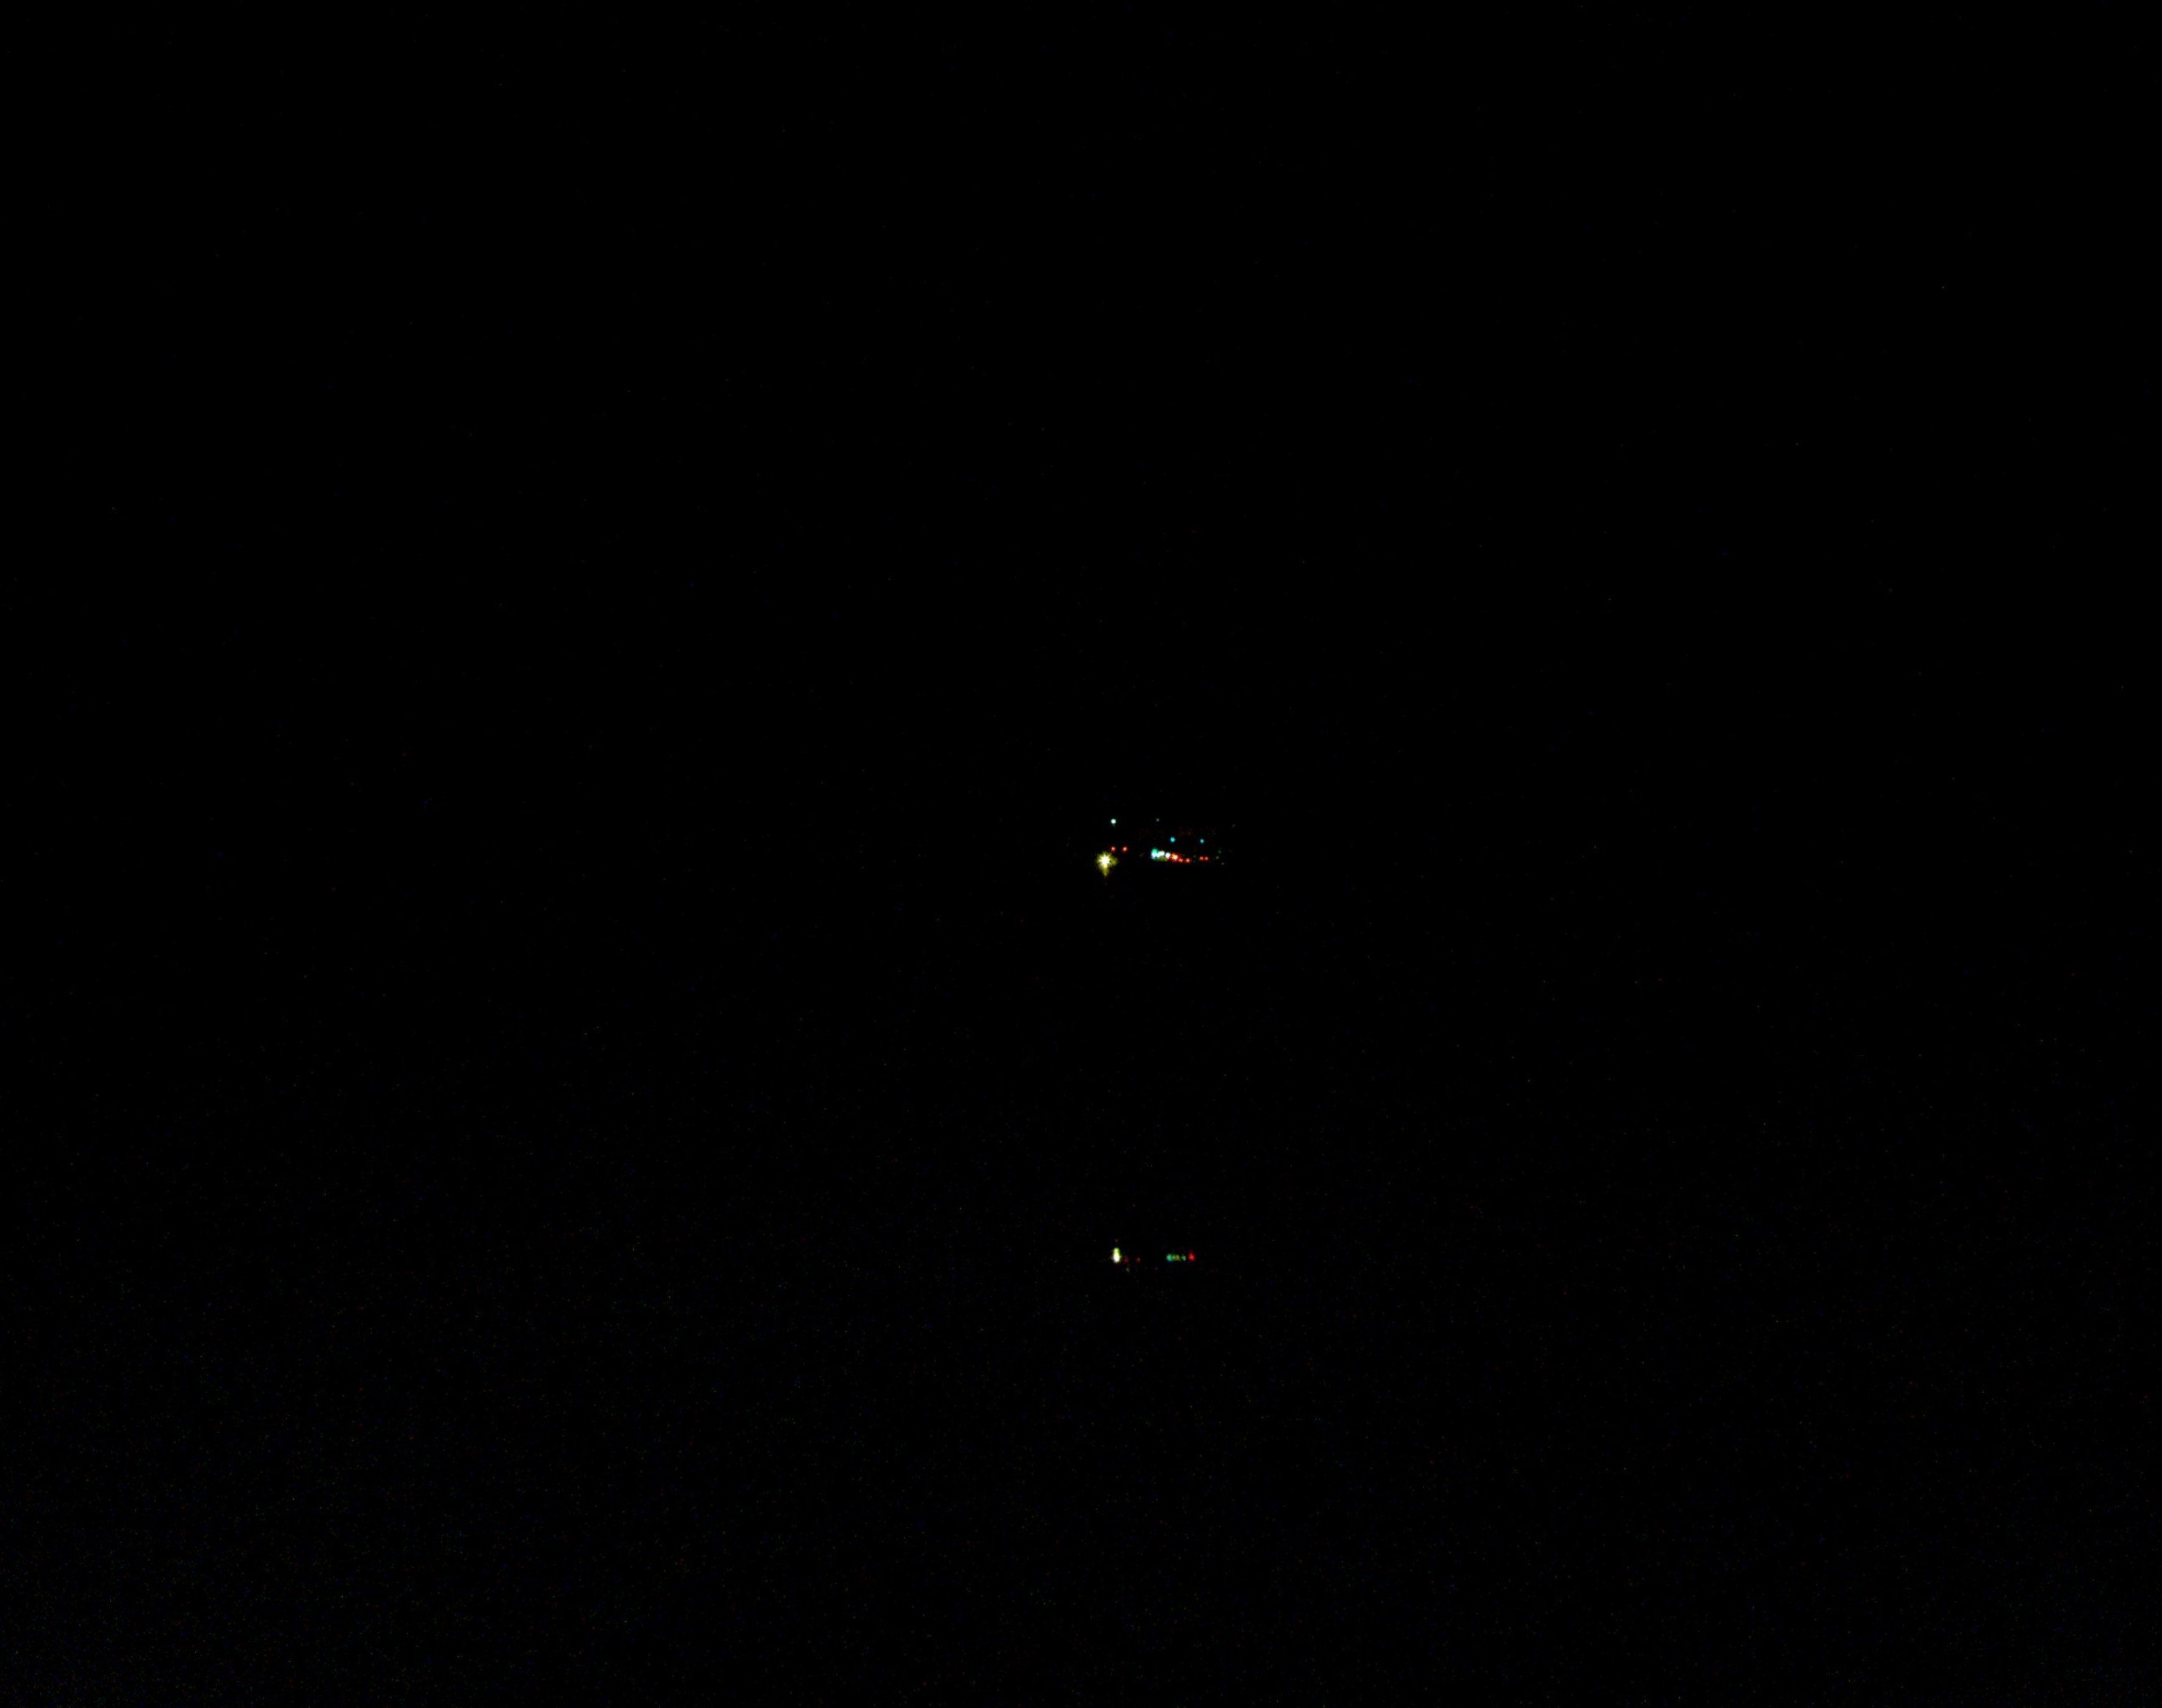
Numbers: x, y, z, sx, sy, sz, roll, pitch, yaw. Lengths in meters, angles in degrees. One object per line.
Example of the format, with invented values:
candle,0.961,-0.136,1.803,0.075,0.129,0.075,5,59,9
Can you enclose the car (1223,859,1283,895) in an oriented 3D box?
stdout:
car,7.713,0.974,34.527,1.724,1.399,4.574,-2,1,1

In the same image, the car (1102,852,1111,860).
car,4.928,0.386,148.199,1.570,1.336,4.166,-2,0,1

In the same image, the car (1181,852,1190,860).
car,21.861,0.388,158.423,1.723,1.438,4.384,-2,1,10

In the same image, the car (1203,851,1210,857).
car,34.367,0.075,208.461,1.655,1.467,4.003,-2,1,11
